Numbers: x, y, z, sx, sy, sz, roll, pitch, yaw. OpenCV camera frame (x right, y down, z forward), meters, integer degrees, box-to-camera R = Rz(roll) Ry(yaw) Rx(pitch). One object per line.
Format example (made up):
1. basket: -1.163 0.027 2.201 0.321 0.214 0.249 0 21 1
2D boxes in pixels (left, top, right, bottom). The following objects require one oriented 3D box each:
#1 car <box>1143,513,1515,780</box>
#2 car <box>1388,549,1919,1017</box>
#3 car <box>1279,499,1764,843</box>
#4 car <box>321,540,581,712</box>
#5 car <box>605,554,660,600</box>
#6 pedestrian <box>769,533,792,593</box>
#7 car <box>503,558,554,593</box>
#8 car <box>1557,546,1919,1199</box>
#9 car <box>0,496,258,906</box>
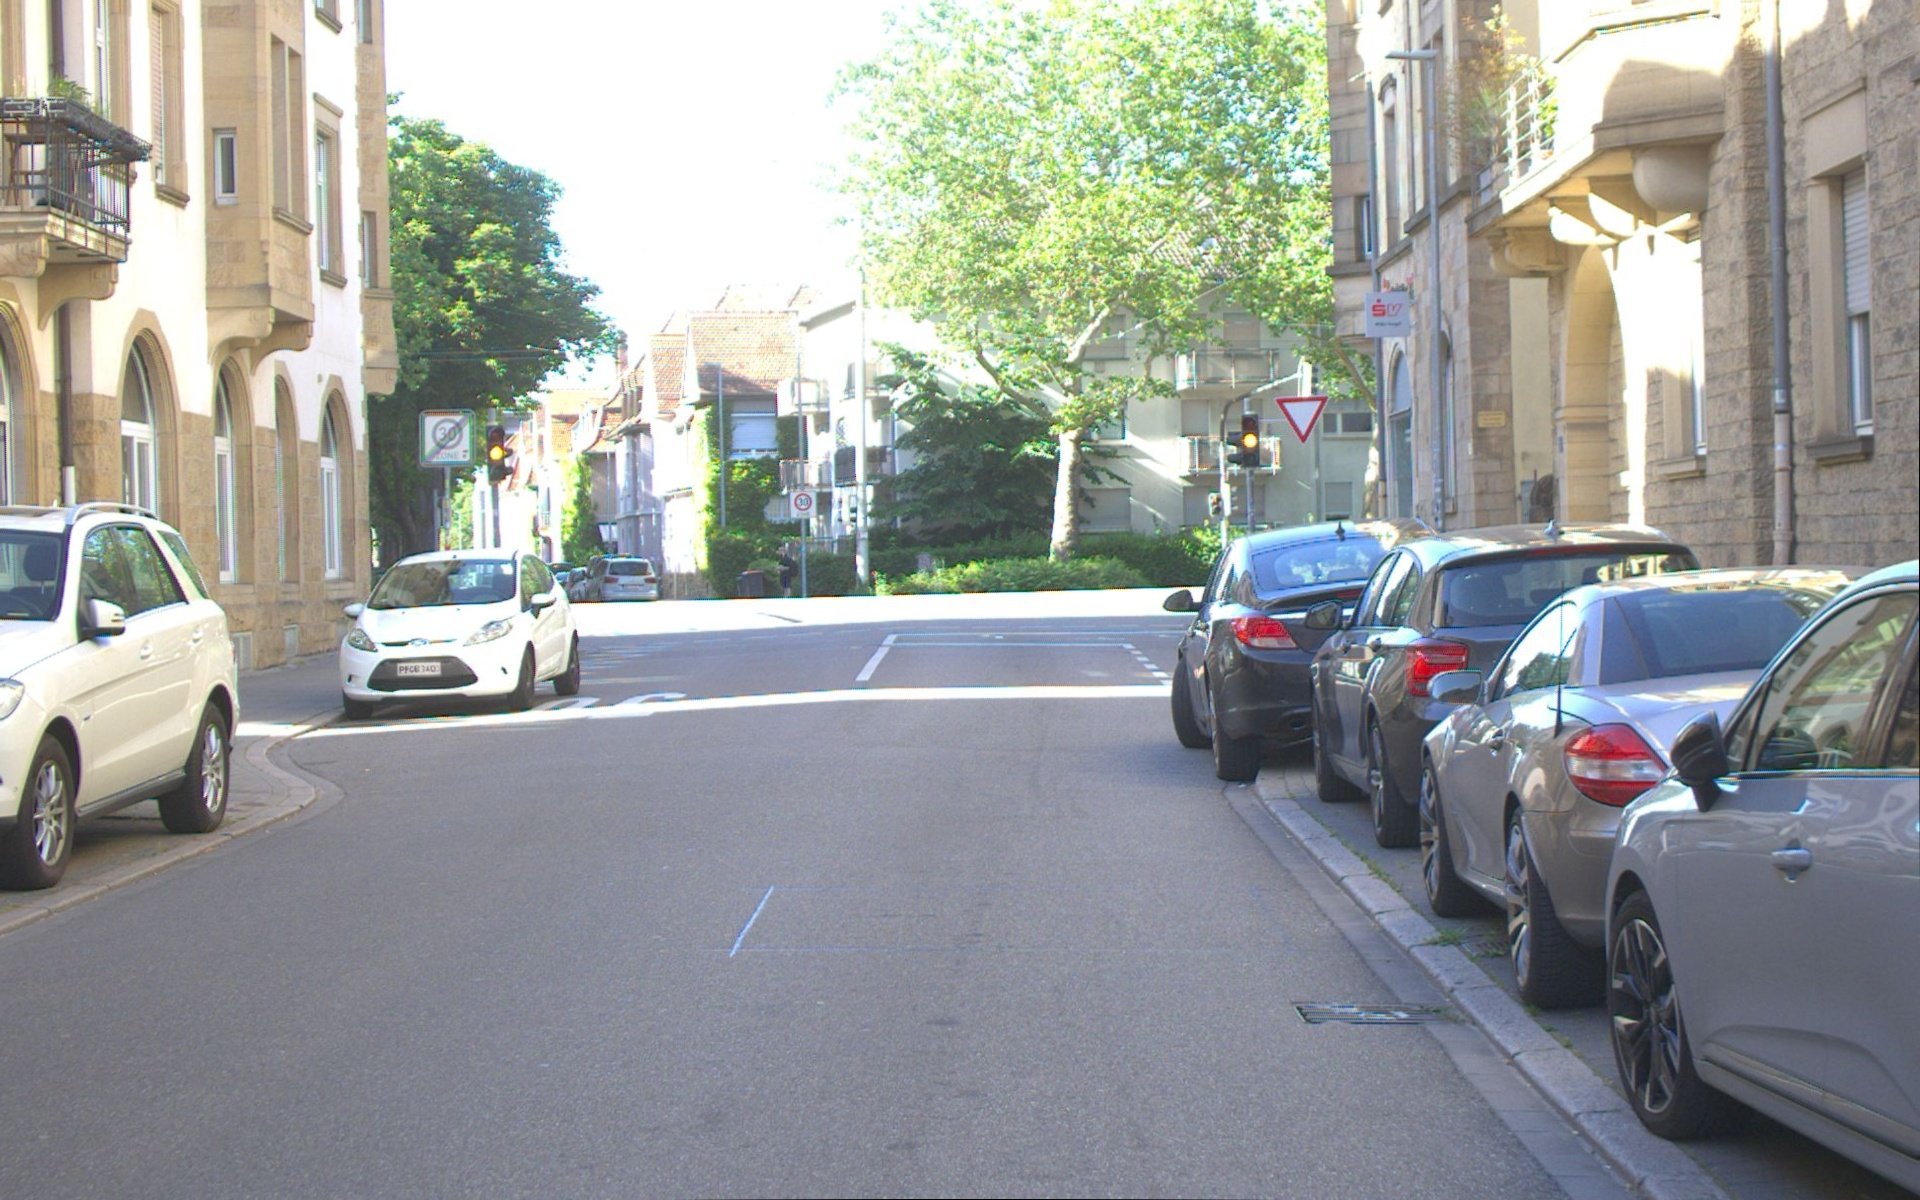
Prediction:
1. car: 2.234 0.219 21.911 1.865 1.457 4.340 -2 1 0
2. car: 2.525 0.501 11.871 1.693 1.250 3.941 -2 1 2
3. car: 2.638 0.259 17.074 1.651 1.437 4.259 -2 1 0
4. car: -4.639 0.195 31.801 1.634 1.459 3.734 -1 1 3
5. car: -10.657 -0.743 111.983 1.674 1.477 3.522 0 0 -4
6. pedestrian: -5.233 -1.079 100.281 0.633 1.744 0.659 0 0 -2
7. car: -17.599 -1.007 140.111 1.737 1.332 3.835 -2 1 -11
8. car: 2.541 0.615 7.027 1.786 1.425 3.808 -1 1 -3
9. car: -4.904 0.372 16.750 1.892 1.716 4.726 1 1 1
